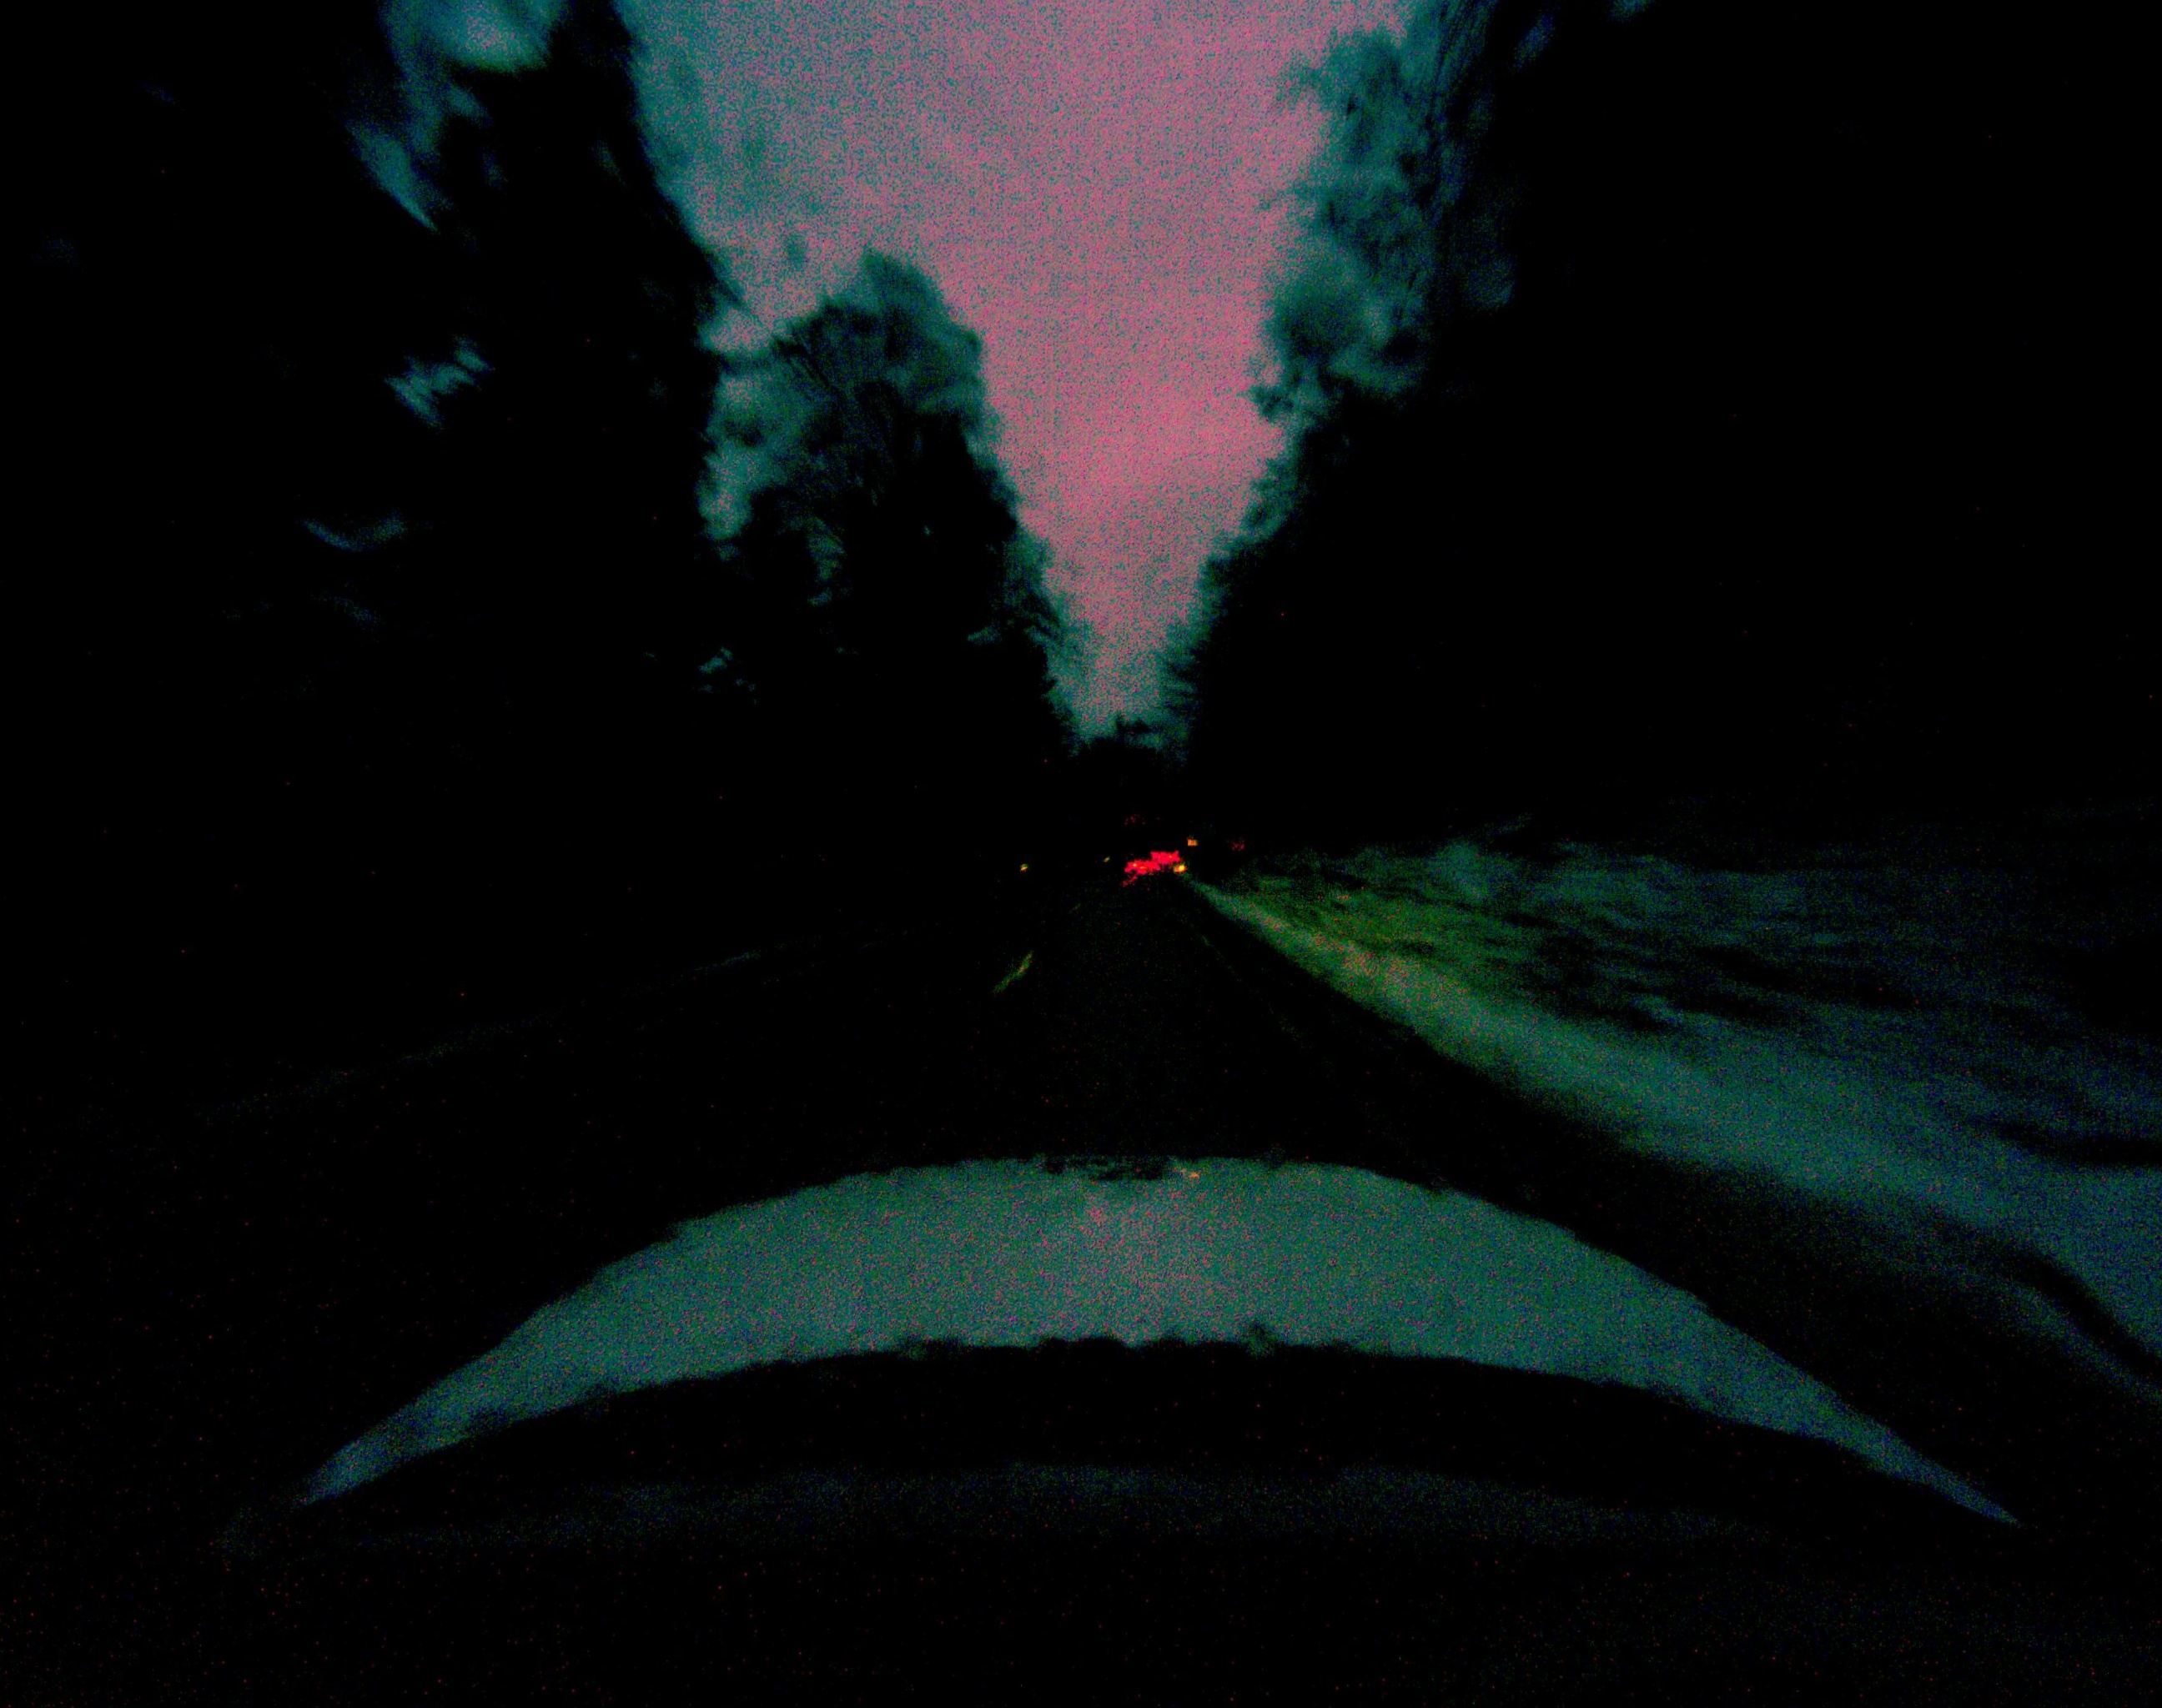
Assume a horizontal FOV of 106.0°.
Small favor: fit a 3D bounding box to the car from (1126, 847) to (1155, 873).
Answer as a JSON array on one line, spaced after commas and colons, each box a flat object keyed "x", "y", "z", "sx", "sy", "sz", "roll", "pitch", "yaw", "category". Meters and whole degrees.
[{"x": 4.598, "y": 0.430, "z": 63.225, "sx": 1.985, "sy": 1.872, "sz": 4.003, "roll": -4, "pitch": 0, "yaw": 3, "category": "car"}]

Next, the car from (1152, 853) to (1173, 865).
[{"x": 10.065, "y": 0.588, "z": 100.965, "sx": 1.989, "sy": 1.310, "sz": 3.996, "roll": -4, "pitch": 0, "yaw": -3, "category": "car"}]
